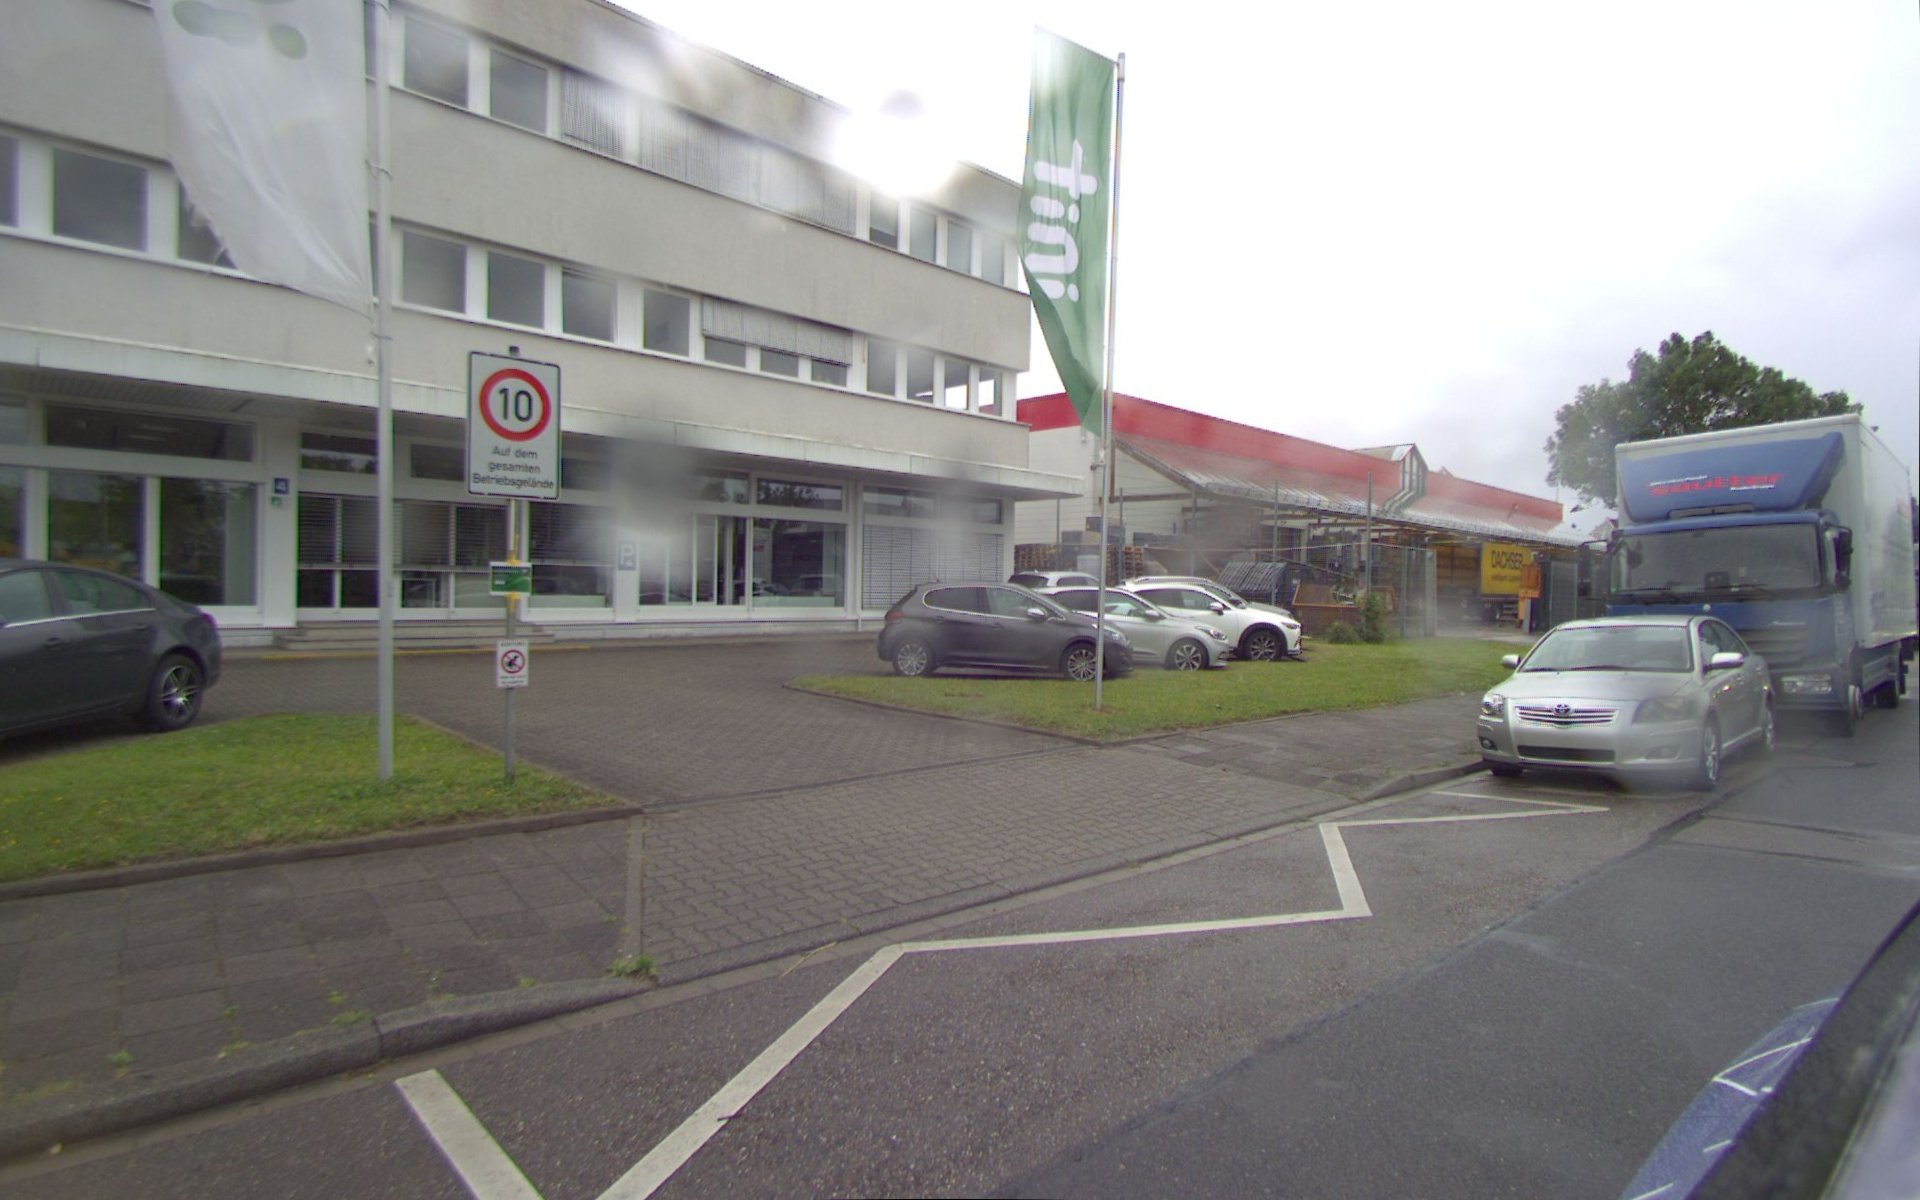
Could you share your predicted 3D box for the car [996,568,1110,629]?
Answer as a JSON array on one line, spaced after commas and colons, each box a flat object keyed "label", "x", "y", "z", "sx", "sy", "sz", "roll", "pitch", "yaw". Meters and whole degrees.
[{"label": "car", "x": 2.342, "y": -0.057, "z": 25.160, "sx": 2.701, "sy": 1.443, "sz": 1.399, "roll": 0, "pitch": 1, "yaw": -44}]

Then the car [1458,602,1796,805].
[{"label": "car", "x": 6.546, "y": 0.776, "z": 9.725, "sx": 4.272, "sy": 1.459, "sz": 1.799, "roll": 0, "pitch": 1, "yaw": -44}]

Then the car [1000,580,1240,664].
[{"label": "car", "x": 2.671, "y": 0.345, "z": 17.602, "sx": 3.927, "sy": 1.302, "sz": 1.706, "roll": 1, "pitch": 1, "yaw": 3}]

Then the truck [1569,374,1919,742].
[{"label": "truck", "x": 11.884, "y": -0.427, "z": 14.683, "sx": 9.142, "sy": 3.838, "sz": 2.743, "roll": 0, "pitch": -2, "yaw": -43}]

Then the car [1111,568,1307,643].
[{"label": "car", "x": 5.468, "y": 0.099, "z": 22.642, "sx": 3.926, "sy": 1.546, "sz": 1.872, "roll": 1, "pitch": 1, "yaw": 2}]

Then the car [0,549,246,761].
[{"label": "car", "x": -7.623, "y": 0.362, "z": 7.452, "sx": 1.755, "sy": 1.486, "sz": 4.682, "roll": 1, "pitch": 1, "yaw": -5}]

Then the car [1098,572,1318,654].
[{"label": "car", "x": 4.804, "y": 0.224, "z": 20.043, "sx": 3.927, "sy": 1.488, "sz": 1.775, "roll": 1, "pitch": 1, "yaw": 3}]

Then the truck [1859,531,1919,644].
[{"label": "truck", "x": 34.569, "y": -0.427, "z": 36.336, "sx": 7.875, "sy": 3.740, "sz": 2.673, "roll": 0, "pitch": -2, "yaw": -44}]

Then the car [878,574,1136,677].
[{"label": "car", "x": 0.709, "y": 0.343, "z": 15.421, "sx": 3.700, "sy": 1.410, "sz": 1.705, "roll": 1, "pitch": 1, "yaw": 4}]

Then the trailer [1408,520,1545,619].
[{"label": "trailer", "x": 24.888, "y": -1.377, "z": 48.462, "sx": 9.315, "sy": 4.296, "sz": 2.969, "roll": 0, "pitch": 1, "yaw": -44}]
